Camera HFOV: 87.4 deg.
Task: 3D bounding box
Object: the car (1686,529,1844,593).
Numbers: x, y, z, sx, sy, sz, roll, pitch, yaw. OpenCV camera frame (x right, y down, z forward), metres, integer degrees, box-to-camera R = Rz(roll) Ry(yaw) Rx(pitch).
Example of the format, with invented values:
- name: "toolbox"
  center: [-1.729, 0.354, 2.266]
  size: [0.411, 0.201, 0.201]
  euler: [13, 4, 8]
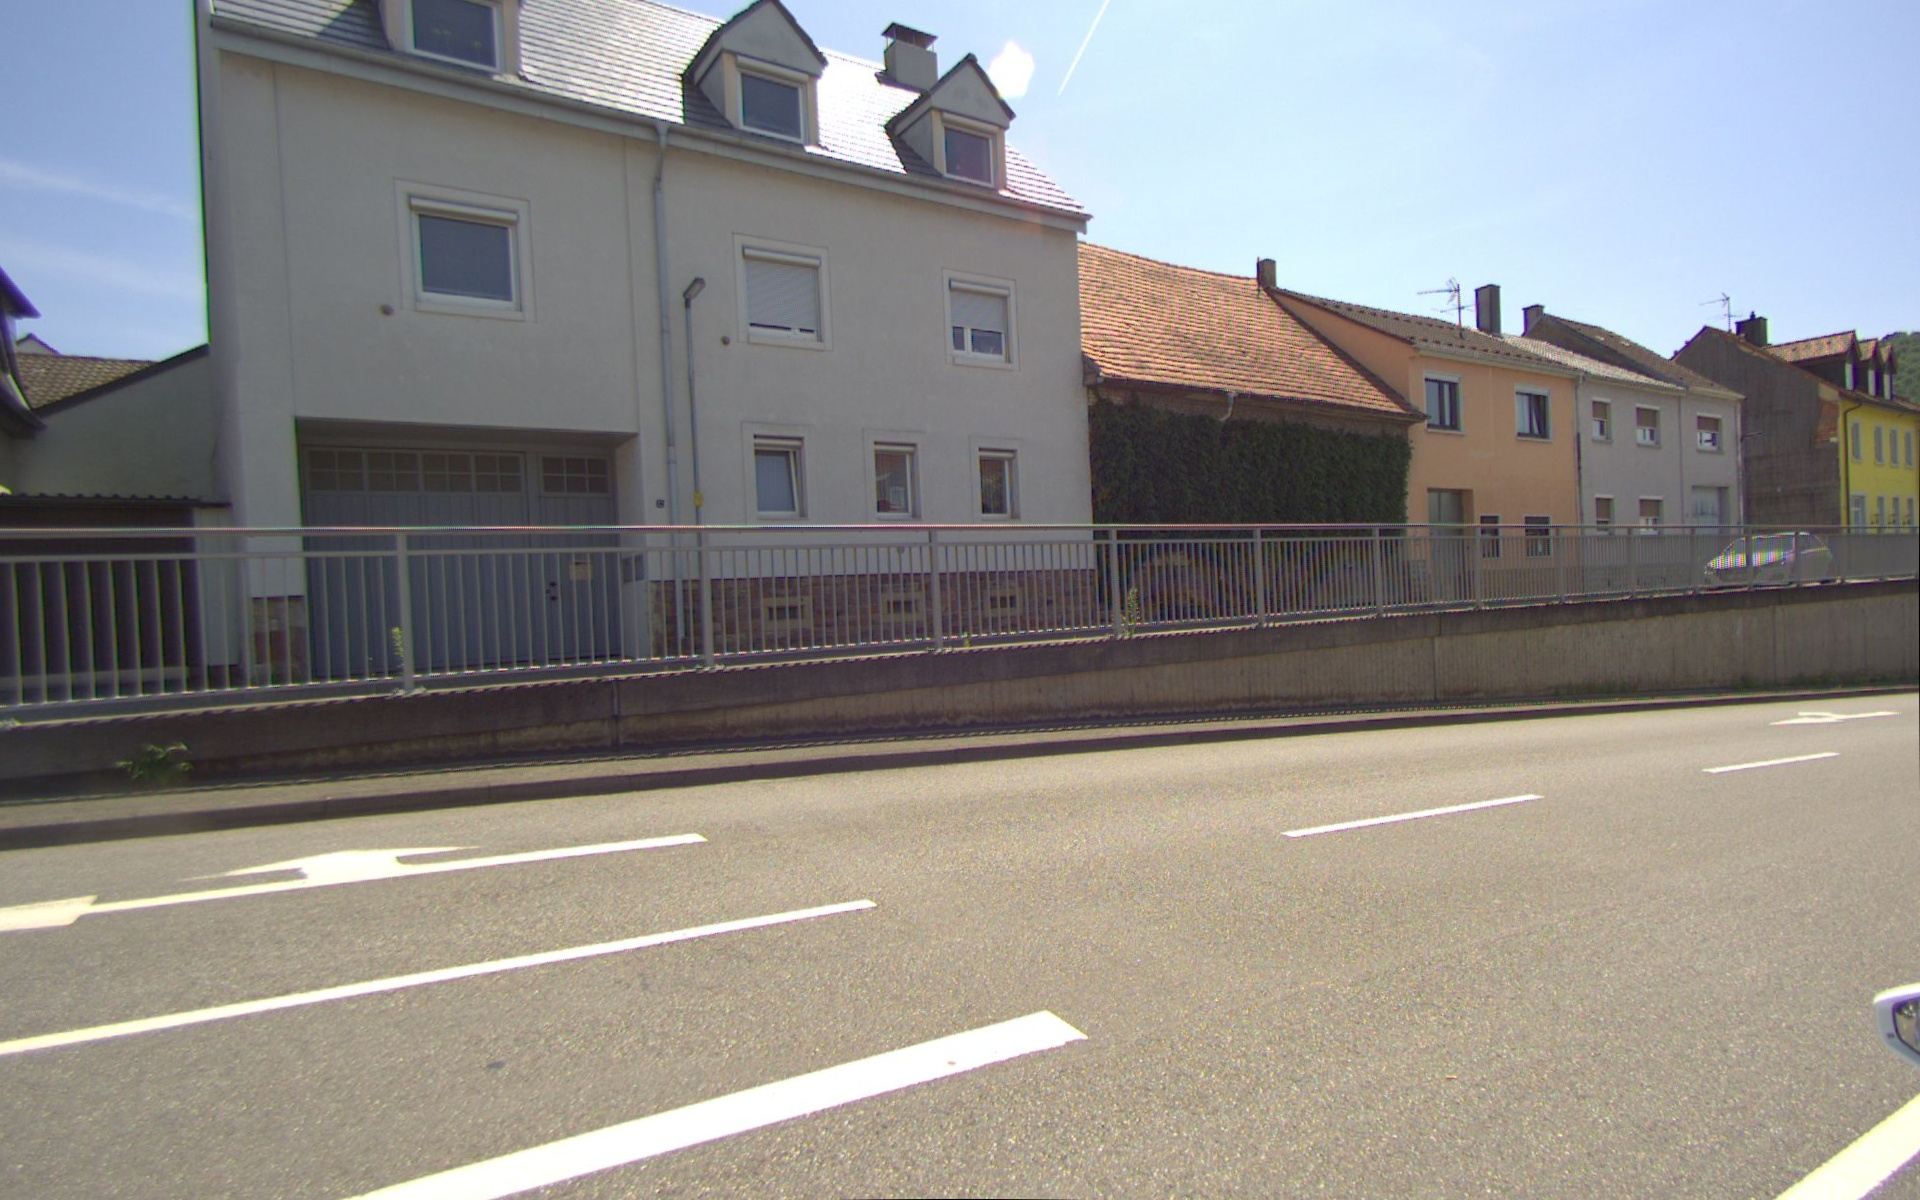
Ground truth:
- name: "car"
  center: [20.338, -1.006, 25.349]
  size: [4.260, 1.482, 1.803]
  euler: [-3, 2, -32]
